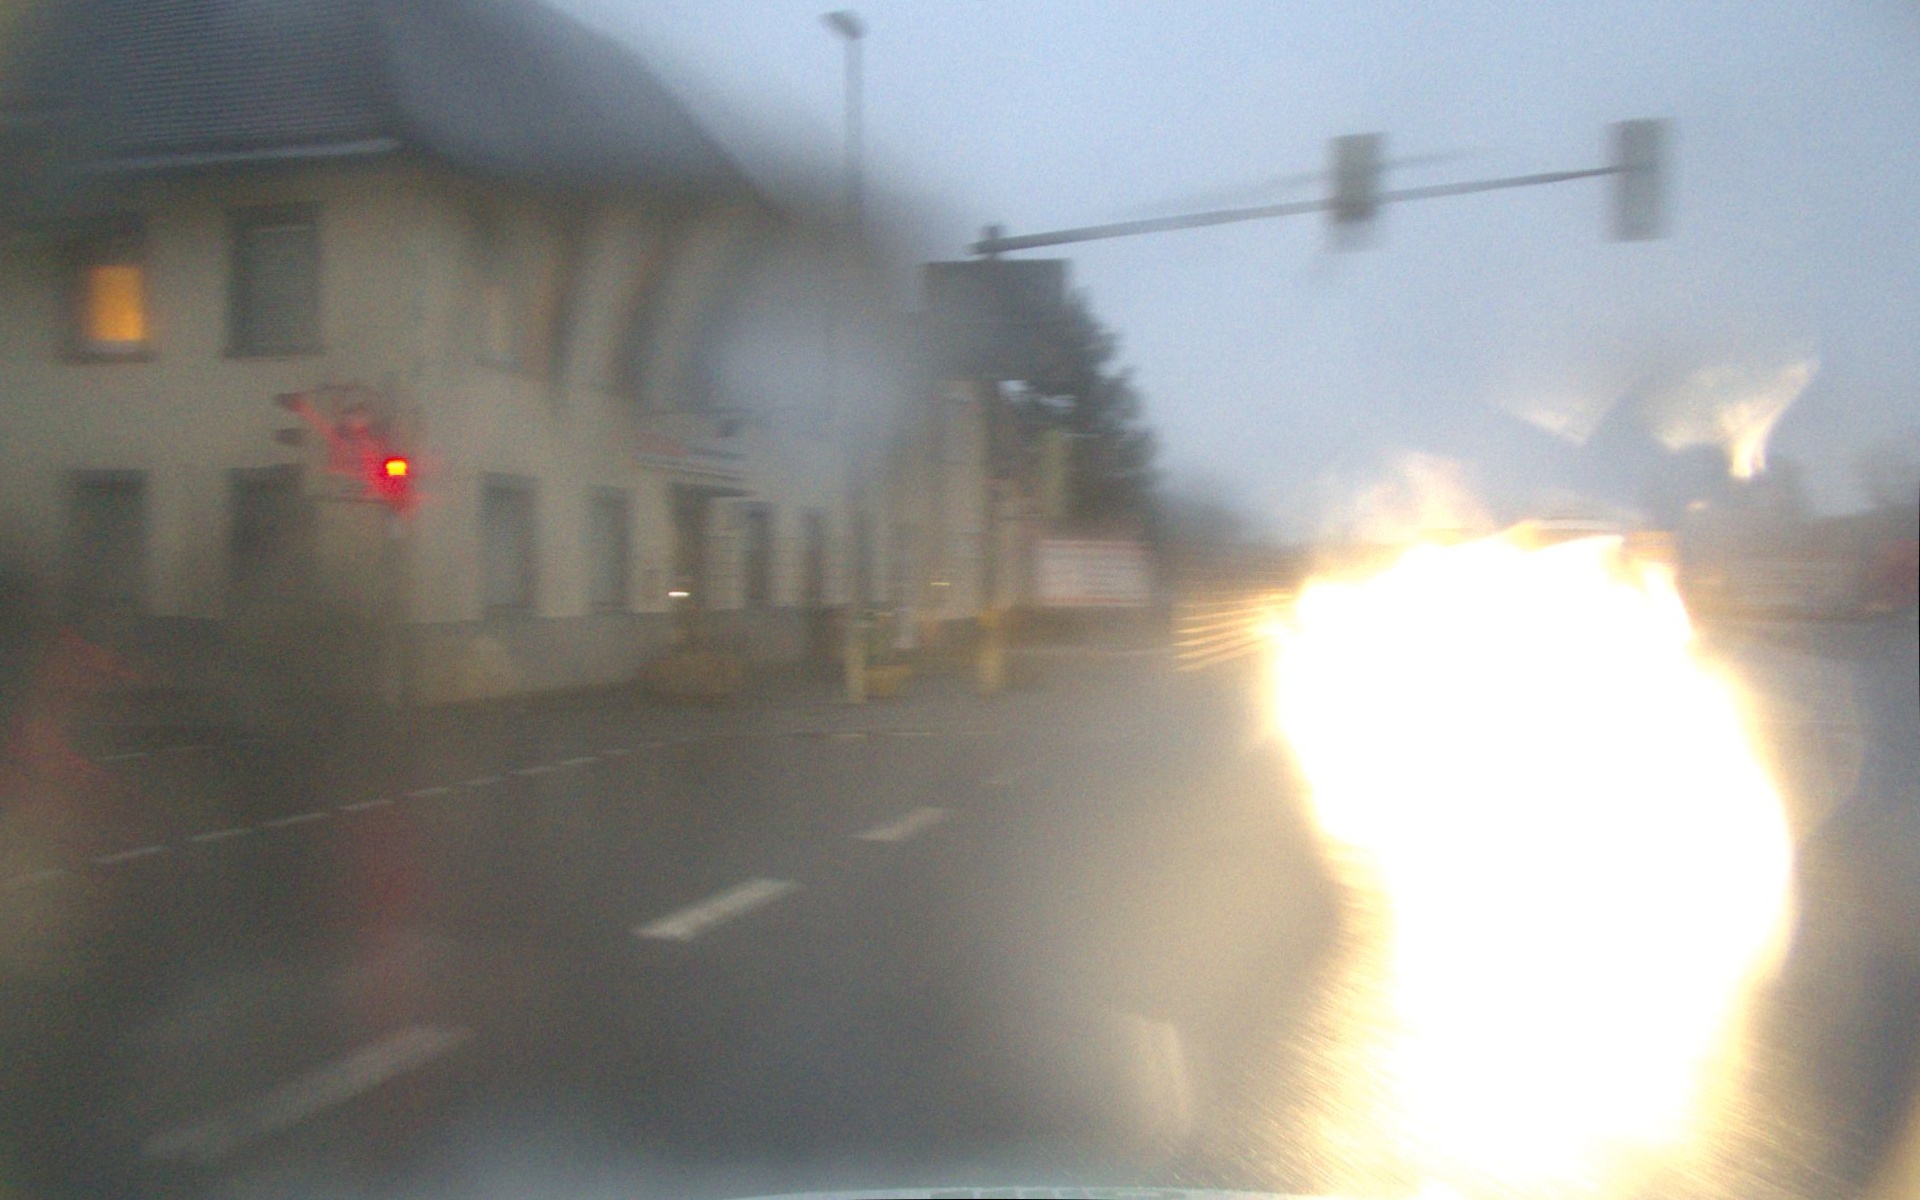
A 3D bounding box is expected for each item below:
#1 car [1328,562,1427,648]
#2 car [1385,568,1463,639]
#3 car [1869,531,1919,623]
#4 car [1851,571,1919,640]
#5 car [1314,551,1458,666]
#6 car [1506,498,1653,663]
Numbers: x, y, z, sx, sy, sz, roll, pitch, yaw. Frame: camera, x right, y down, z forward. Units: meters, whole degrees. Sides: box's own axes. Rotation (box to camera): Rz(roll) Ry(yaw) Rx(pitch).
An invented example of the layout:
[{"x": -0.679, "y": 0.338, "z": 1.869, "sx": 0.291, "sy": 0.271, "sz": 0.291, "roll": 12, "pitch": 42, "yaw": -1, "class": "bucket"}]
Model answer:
[{"x": 9.240, "y": 0.059, "z": 36.440, "sx": 1.789, "sy": 1.800, "sz": 3.754, "roll": 0, "pitch": 1, "yaw": 19, "class": "car"}, {"x": 12.058, "y": 0.103, "z": 42.867, "sx": 1.685, "sy": 1.753, "sz": 3.929, "roll": -1, "pitch": 0, "yaw": 19, "class": "car"}, {"x": 32.410, "y": -0.803, "z": 53.254, "sx": 5.140, "sy": 2.920, "sz": 1.779, "roll": -1, "pitch": 0, "yaw": 11, "class": "car"}, {"x": 29.652, "y": 0.140, "z": 50.802, "sx": 3.909, "sy": 2.049, "sz": 1.998, "roll": -1, "pitch": 0, "yaw": 27, "class": "car"}, {"x": 7.230, "y": 0.114, "z": 27.812, "sx": 1.952, "sy": 1.777, "sz": 4.001, "roll": -1, "pitch": 1, "yaw": 20, "class": "car"}, {"x": 12.346, "y": -0.414, "z": 33.378, "sx": 2.351, "sy": 2.942, "sz": 6.254, "roll": 2, "pitch": 1, "yaw": 18, "class": "car"}]
